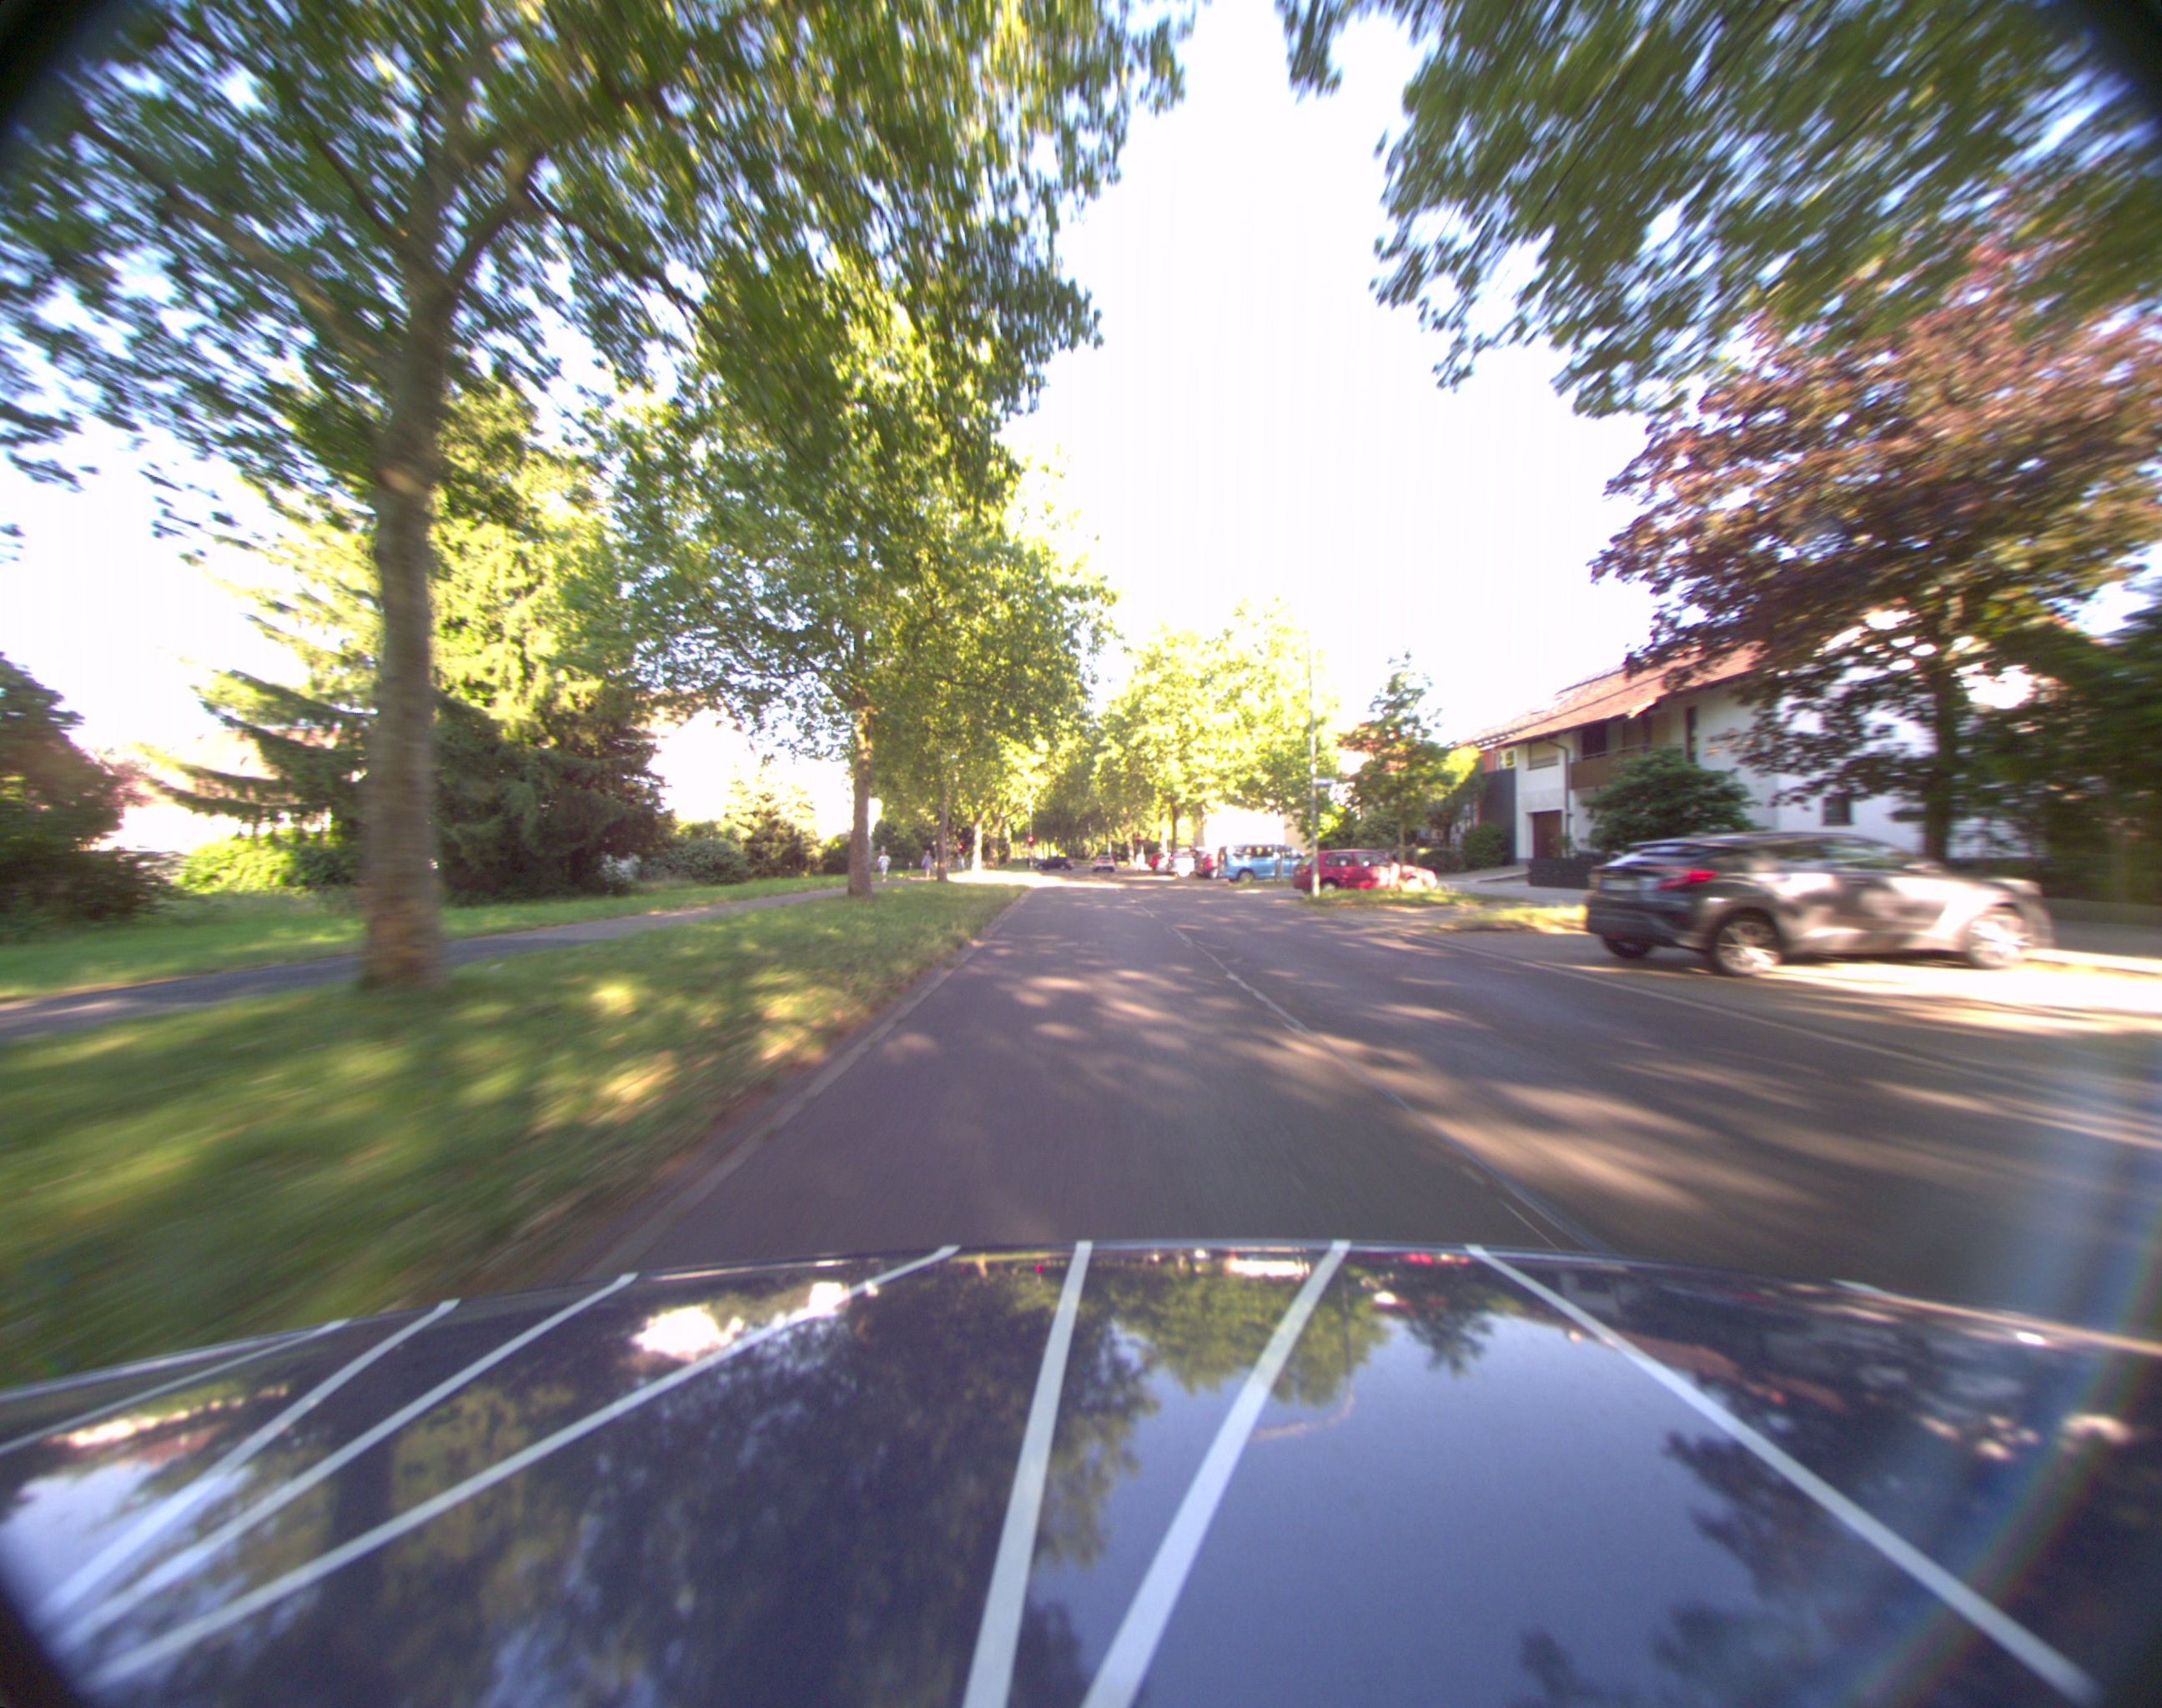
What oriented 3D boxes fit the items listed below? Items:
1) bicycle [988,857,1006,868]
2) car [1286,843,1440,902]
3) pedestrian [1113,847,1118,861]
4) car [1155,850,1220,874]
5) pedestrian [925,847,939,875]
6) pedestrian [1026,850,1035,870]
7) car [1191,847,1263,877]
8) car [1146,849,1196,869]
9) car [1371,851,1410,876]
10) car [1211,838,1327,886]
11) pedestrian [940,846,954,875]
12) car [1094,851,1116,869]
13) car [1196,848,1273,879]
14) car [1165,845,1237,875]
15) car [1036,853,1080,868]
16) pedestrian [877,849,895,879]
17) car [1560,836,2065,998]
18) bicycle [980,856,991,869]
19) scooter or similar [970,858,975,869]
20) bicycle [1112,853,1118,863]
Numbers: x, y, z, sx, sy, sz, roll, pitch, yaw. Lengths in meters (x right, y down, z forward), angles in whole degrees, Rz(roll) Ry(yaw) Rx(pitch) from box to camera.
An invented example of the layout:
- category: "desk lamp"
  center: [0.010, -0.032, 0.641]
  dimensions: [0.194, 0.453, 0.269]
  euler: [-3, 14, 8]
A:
- category: "bicycle"
  center: [-7.456, 0.766, 67.547]
  dimensions: [1.715, 1.028, 0.447]
  euler: [-1, -2, 32]
- category: "car"
  center: [8.291, 0.522, 22.523]
  dimensions: [3.882, 1.509, 1.664]
  euler: [-2, 0, -4]
- category: "pedestrian"
  center: [4.010, -0.006, 89.089]
  dimensions: [0.510, 1.524, 1.033]
  euler: [-1, 4, -3]
- category: "car"
  center: [7.332, 0.510, 52.539]
  dimensions: [4.173, 1.492, 1.875]
  euler: [-2, 1, -4]
- category: "pedestrian"
  center: [-9.785, 0.457, 49.884]
  dimensions: [0.756, 1.837, 0.802]
  euler: [-1, 1, 1]
- category: "pedestrian"
  center: [-4.414, 0.553, 66.035]
  dimensions: [0.637, 1.709, 0.825]
  euler: [1, 0, -10]
- category: "car"
  center: [8.165, 0.426, 42.648]
  dimensions: [3.522, 1.508, 1.726]
  euler: [-3, 1, -6]
- category: "car"
  center: [7.386, 0.417, 62.446]
  dimensions: [3.775, 1.526, 1.830]
  euler: [-2, 1, -5]
- category: "car"
  center: [14.751, 0.459, 36.258]
  dimensions: [1.518, 1.110, 0.700]
  euler: [-3, 1, -2]
- category: "car"
  center: [8.043, 0.324, 32.746]
  dimensions: [4.398, 1.814, 1.994]
  euler: [-3, 1, -4]
- category: "pedestrian"
  center: [-8.760, 0.408, 49.691]
  dimensions: [0.763, 1.835, 0.787]
  euler: [-1, 1, 1]
- category: "car"
  center: [2.158, 0.547, 68.643]
  dimensions: [1.721, 1.492, 4.092]
  euler: [-2, 0, -2]
- category: "car"
  center: [8.102, 0.478, 40.386]
  dimensions: [3.652, 1.508, 1.781]
  euler: [-2, 0, -2]
- category: "car"
  center: [7.452, 0.363, 47.493]
  dimensions: [4.103, 1.706, 1.831]
  euler: [-2, 1, -3]
- category: "car"
  center: [-2.318, 0.638, 77.429]
  dimensions: [4.059, 1.455, 1.734]
  euler: [-1, 1, 19]
- category: "pedestrian"
  center: [-10.884, 0.546, 42.445]
  dimensions: [0.781, 1.640, 0.938]
  euler: [0, 1, -2]
- category: "car"
  center: [8.020, 0.636, 8.632]
  dimensions: [3.998, 1.509, 1.817]
  euler: [-2, 1, -1]
- category: "bicycle"
  center: [-8.385, 0.765, 66.447]
  dimensions: [0.447, 1.076, 2.004]
  euler: [1, -1, -23]
- category: "scooter or similar"
  center: [-12.271, 1.035, 85.775]
  dimensions: [0.383, 1.189, 1.254]
  euler: [-2, 0, -5]
- category: "bicycle"
  center: [4.003, 0.497, 89.135]
  dimensions: [0.510, 1.036, 2.151]
  euler: [1, 3, -2]
